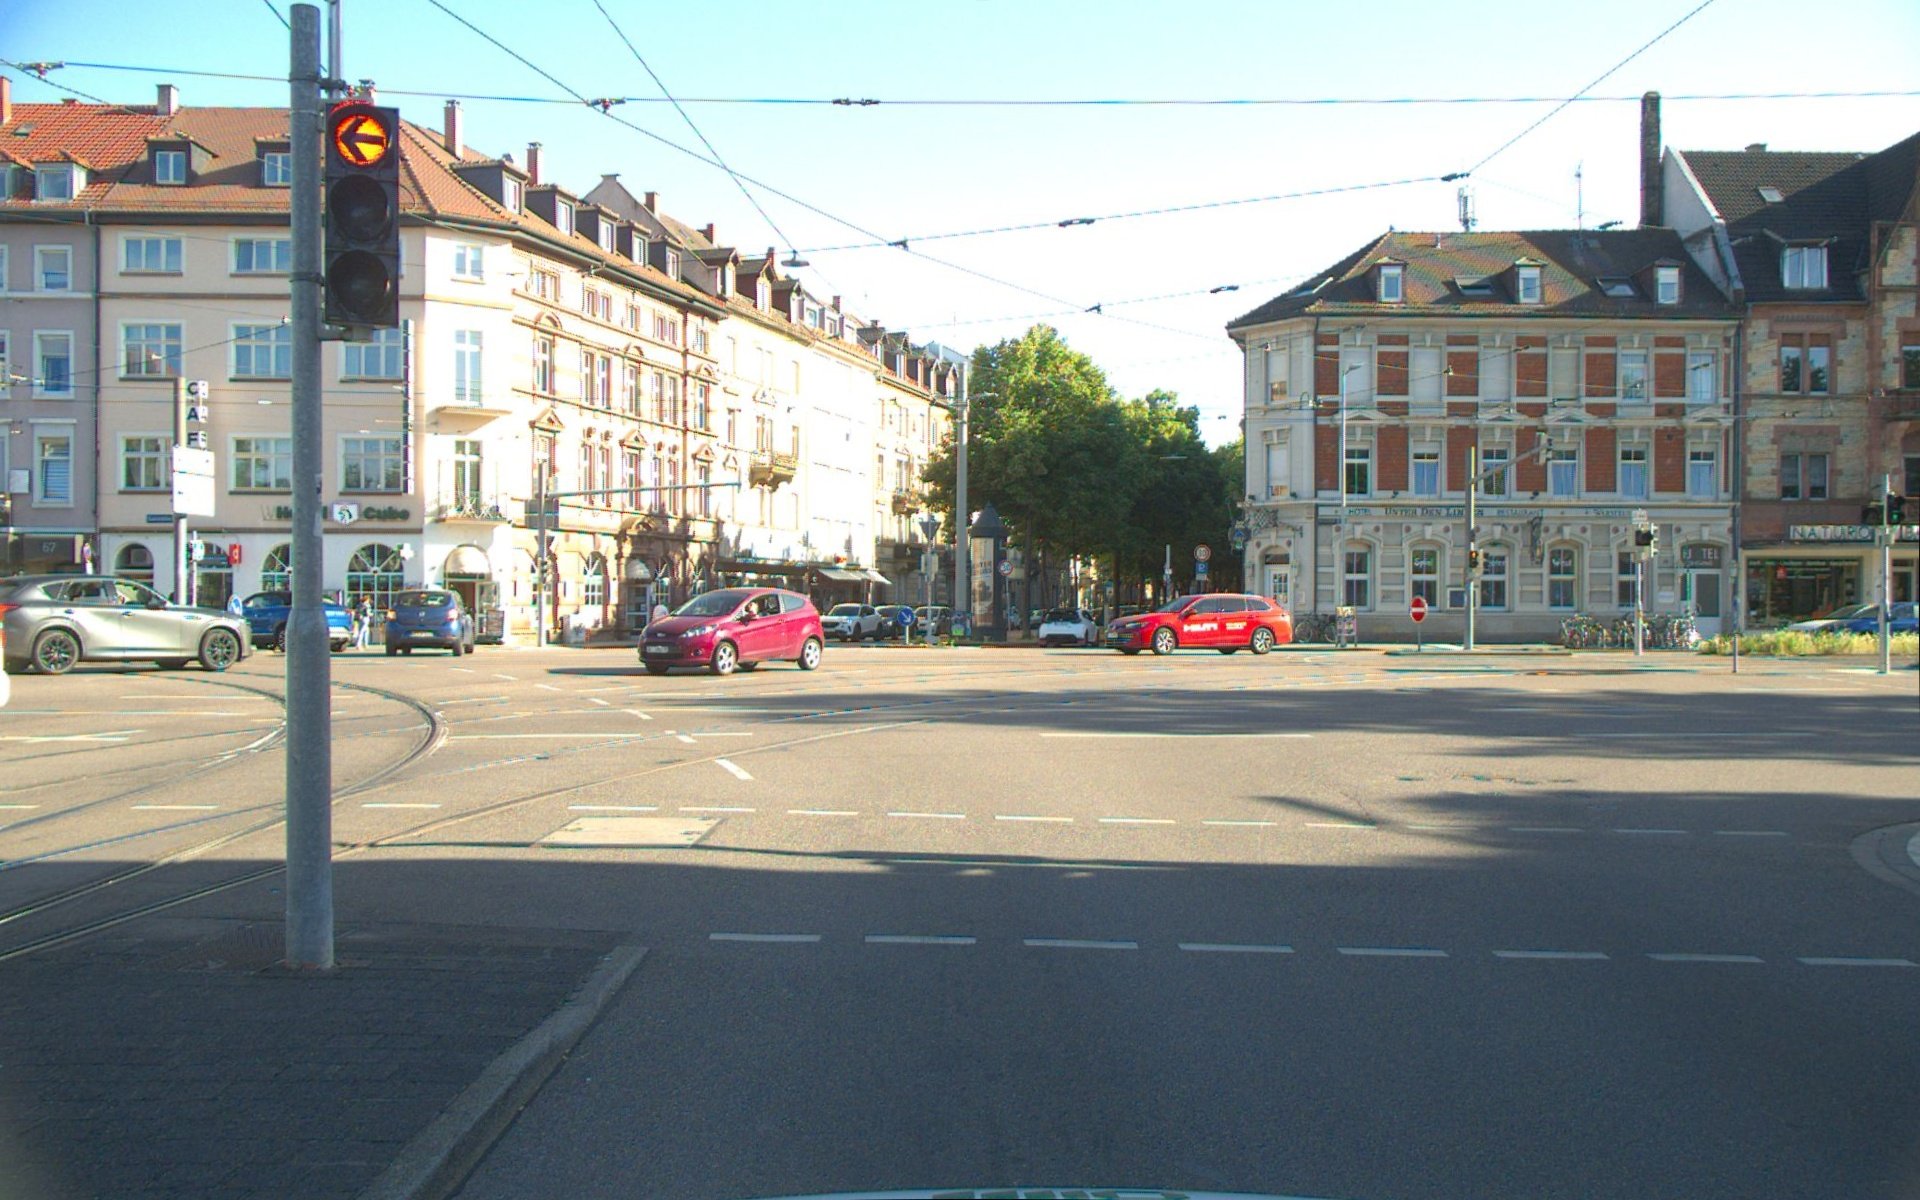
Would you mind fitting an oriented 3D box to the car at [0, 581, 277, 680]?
[{"bbox_3d":[-14.702,0.490,29.437,1.837,1.630,4.437,-1,0,36],"label":"car"}]

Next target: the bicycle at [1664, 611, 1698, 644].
[{"bbox_3d":[23.367,0.897,53.631,0.775,1.033,2.211,1,0,17],"label":"bicycle"}]

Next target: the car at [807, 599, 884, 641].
[{"bbox_3d":[-4.611,0.804,67.199,1.764,1.613,4.162,1,0,16],"label":"car"}]

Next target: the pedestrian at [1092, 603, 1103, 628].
[{"bbox_3d":[11.543,1.288,138.710,0.736,2.049,1.000,1,-1,13],"label":"pedestrian"}]

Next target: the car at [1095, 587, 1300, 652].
[{"bbox_3d":[5.852,0.453,40.767,4.791,1.495,1.791,0,1,-23],"label":"car"}]

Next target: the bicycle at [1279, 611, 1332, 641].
[{"bbox_3d":[11.983,0.899,57.292,1.764,0.979,0.604,1,0,14],"label":"bicycle"}]

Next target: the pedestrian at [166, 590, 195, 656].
[{"bbox_3d":[-22.019,0.651,46.742,0.517,1.854,0.675,1,-1,-8],"label":"pedestrian"}]

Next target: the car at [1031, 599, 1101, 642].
[{"bbox_3d":[4.048,0.748,62.546,1.852,1.479,4.012,0,1,15],"label":"car"}]

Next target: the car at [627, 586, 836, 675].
[{"bbox_3d":[-3.946,0.481,29.128,1.562,1.451,3.872,1,1,32],"label":"car"}]

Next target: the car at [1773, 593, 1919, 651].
[{"bbox_3d":[26.575,0.652,49.158,3.905,1.650,1.804,1,0,0],"label":"car"}]

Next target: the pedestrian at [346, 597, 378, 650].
[{"bbox_3d":[-18.412,0.723,50.913,0.655,1.622,0.815,1,-1,-1],"label":"pedestrian"}]

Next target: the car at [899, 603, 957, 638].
[{"bbox_3d":[-1.500,0.991,79.467,1.764,1.603,3.893,1,0,15],"label":"car"}]

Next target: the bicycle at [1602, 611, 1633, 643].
[{"bbox_3d":[21.344,0.876,53.710,0.749,1.001,2.211,1,0,17],"label":"bicycle"}]

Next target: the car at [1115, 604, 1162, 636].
[{"bbox_3d":[8.397,0.904,77.445,1.786,1.428,4.003,0,0,12],"label":"car"}]

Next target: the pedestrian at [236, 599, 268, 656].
[{"bbox_3d":[-20.955,0.814,48.970,0.571,1.677,0.840,1,-1,-1],"label":"pedestrian"}]

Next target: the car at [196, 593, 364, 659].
[{"bbox_3d":[-17.470,0.635,42.459,4.106,1.602,1.828,1,0,29],"label":"car"}]

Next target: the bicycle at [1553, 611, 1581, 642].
[{"bbox_3d":[19.811,0.851,54.039,0.749,0.979,2.211,1,0,17],"label":"bicycle"}]

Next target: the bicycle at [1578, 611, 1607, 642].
[{"bbox_3d":[20.566,0.863,53.803,0.749,0.985,2.211,1,0,17],"label":"bicycle"}]

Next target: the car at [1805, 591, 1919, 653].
[{"bbox_3d":[25.923,0.627,46.034,3.905,1.650,1.804,1,0,0],"label":"car"}]

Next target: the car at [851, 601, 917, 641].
[{"bbox_3d":[-3.346,0.926,73.509,1.786,1.715,3.877,1,0,16],"label":"car"}]

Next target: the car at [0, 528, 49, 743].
[{"bbox_3d":[-9.825,0.331,12.726,1.951,1.886,5.221,0,0,13],"label":"car"}]

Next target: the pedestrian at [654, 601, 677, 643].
[{"bbox_3d":[-11.788,0.891,66.281,0.556,1.671,0.792,1,-1,22],"label":"pedestrian"}]

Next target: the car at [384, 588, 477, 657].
[{"bbox_3d":[-12.470,0.492,39.148,1.754,1.530,3.907,0,0,-13],"label":"car"}]

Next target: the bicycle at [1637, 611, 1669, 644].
[{"bbox_3d":[22.470,0.883,53.657,0.749,1.025,2.221,1,0,17],"label":"bicycle"}]
